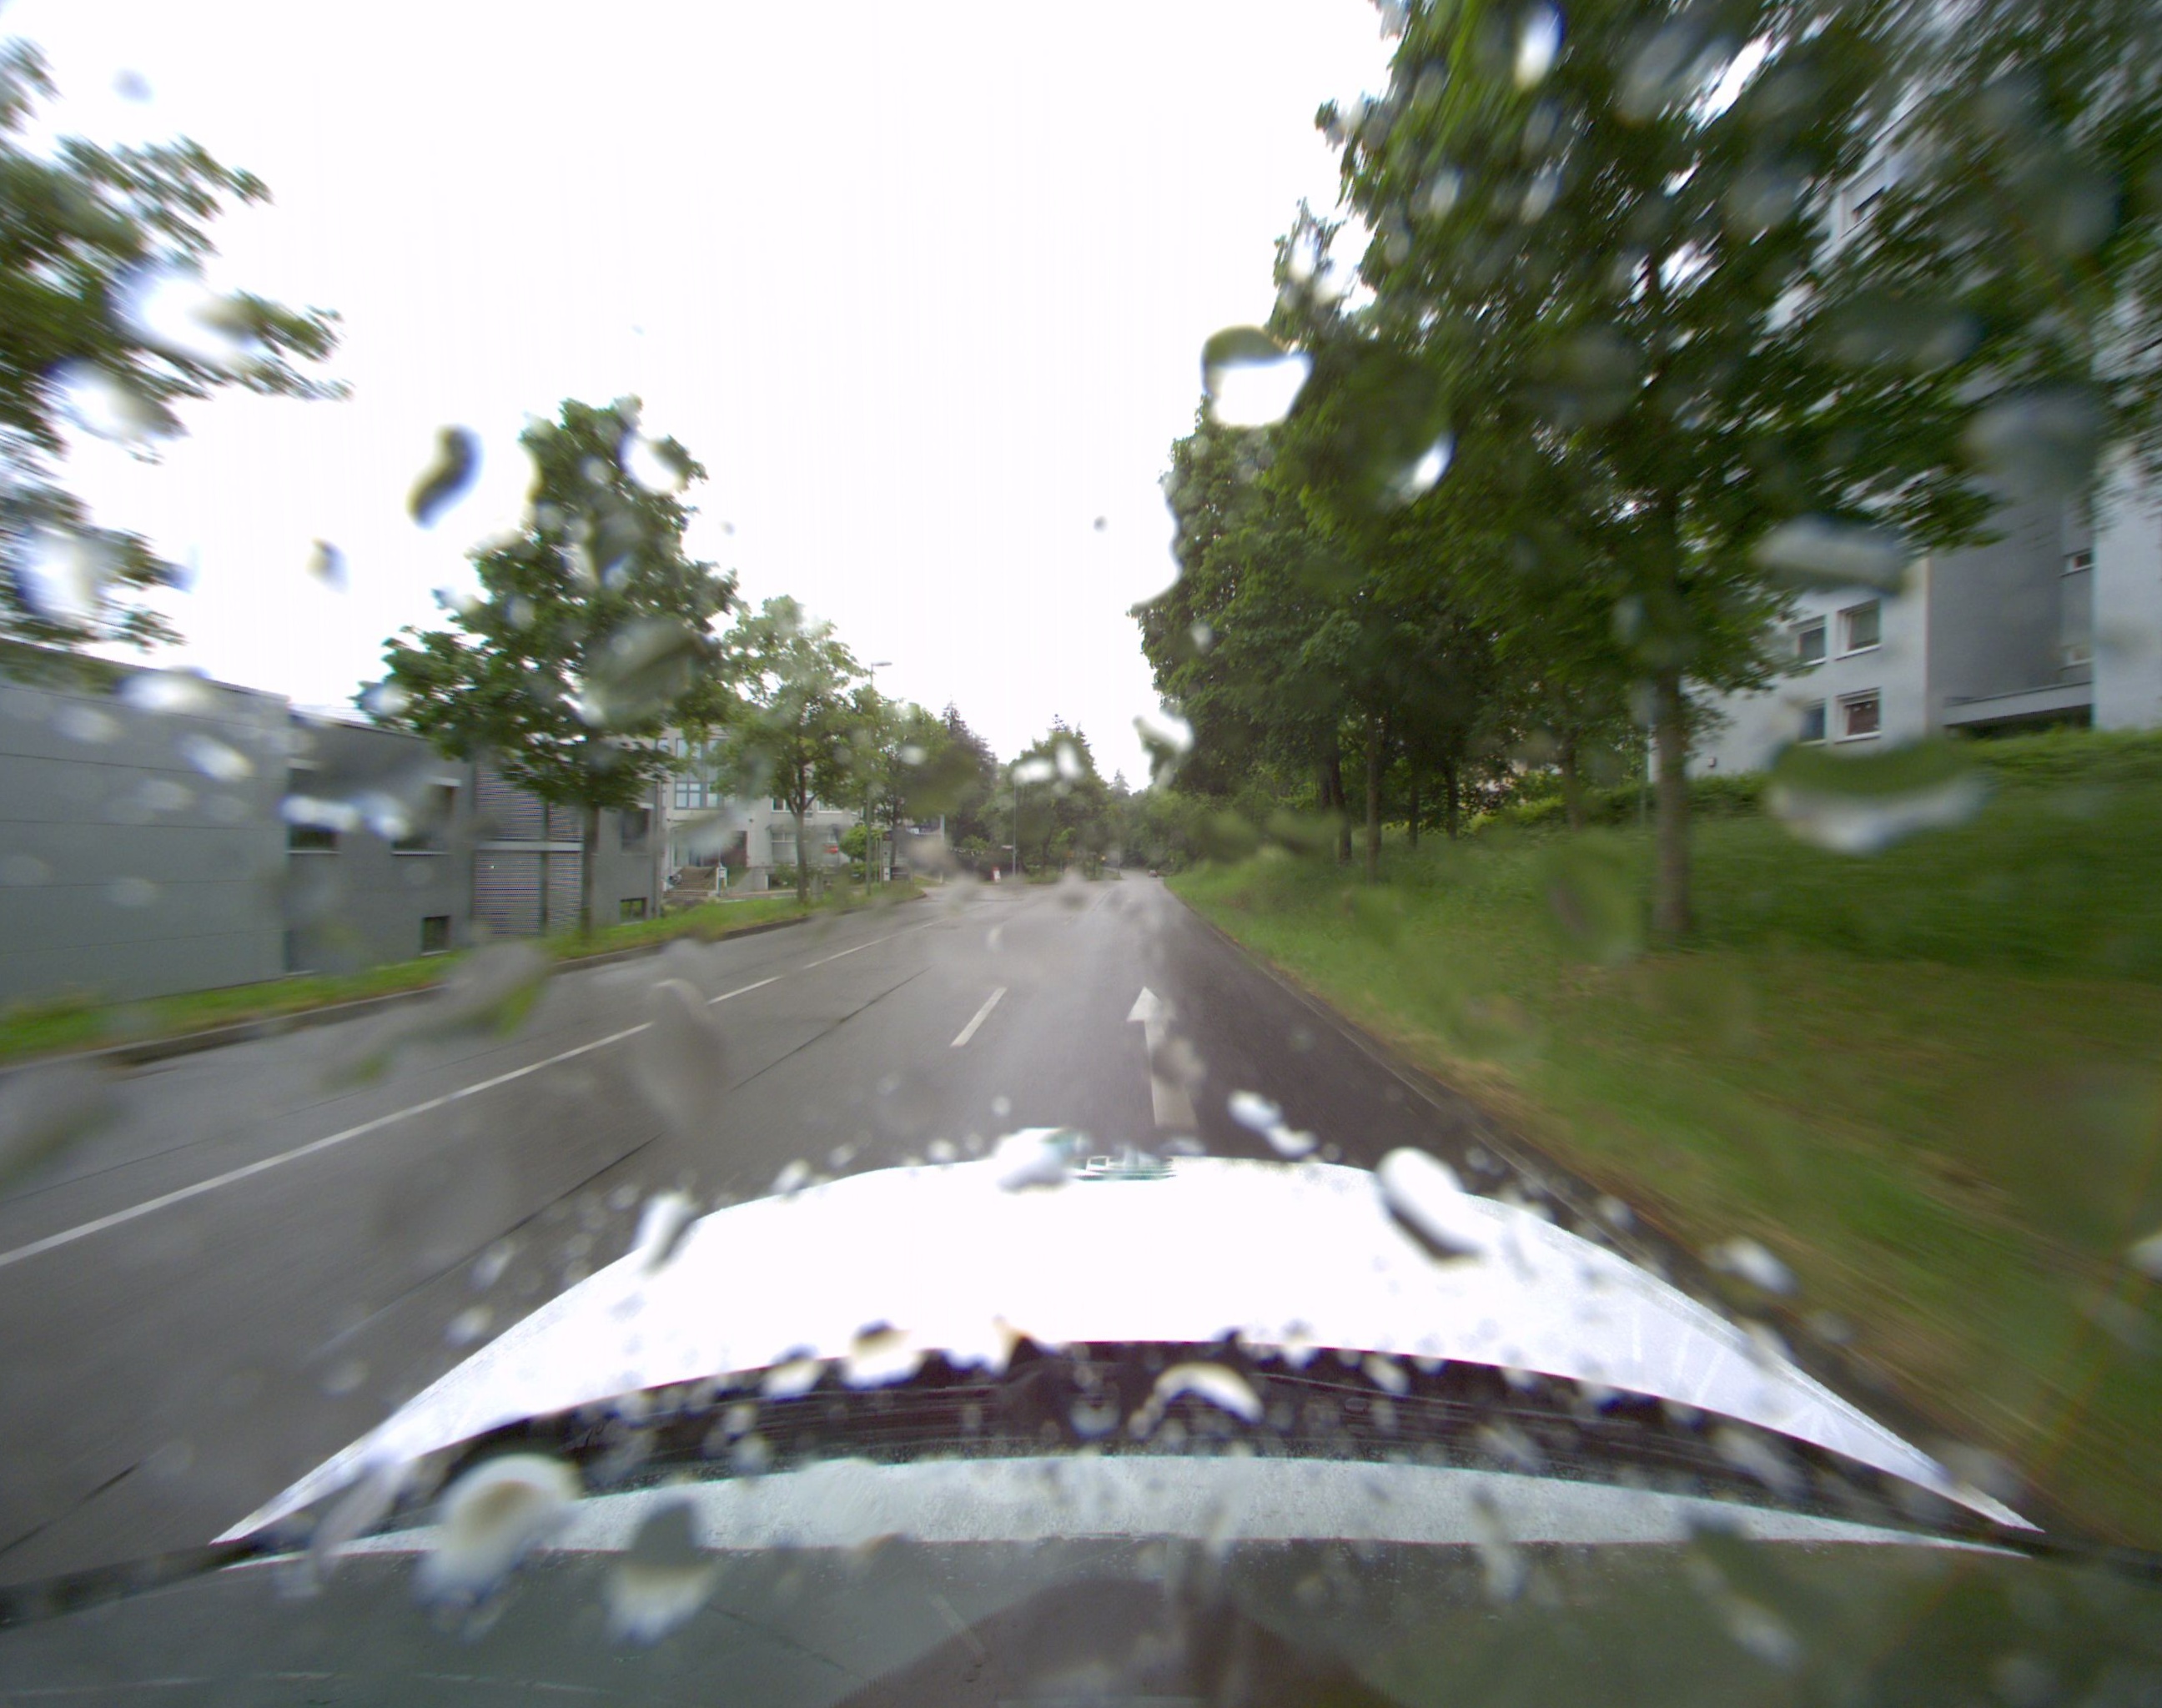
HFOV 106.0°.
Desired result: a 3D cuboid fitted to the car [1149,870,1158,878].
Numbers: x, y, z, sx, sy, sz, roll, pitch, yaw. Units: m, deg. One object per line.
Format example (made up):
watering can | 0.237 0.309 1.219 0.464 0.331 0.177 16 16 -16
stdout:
car | 14.761 4.036 166.415 1.729 1.510 4.004 -2 -1 4
